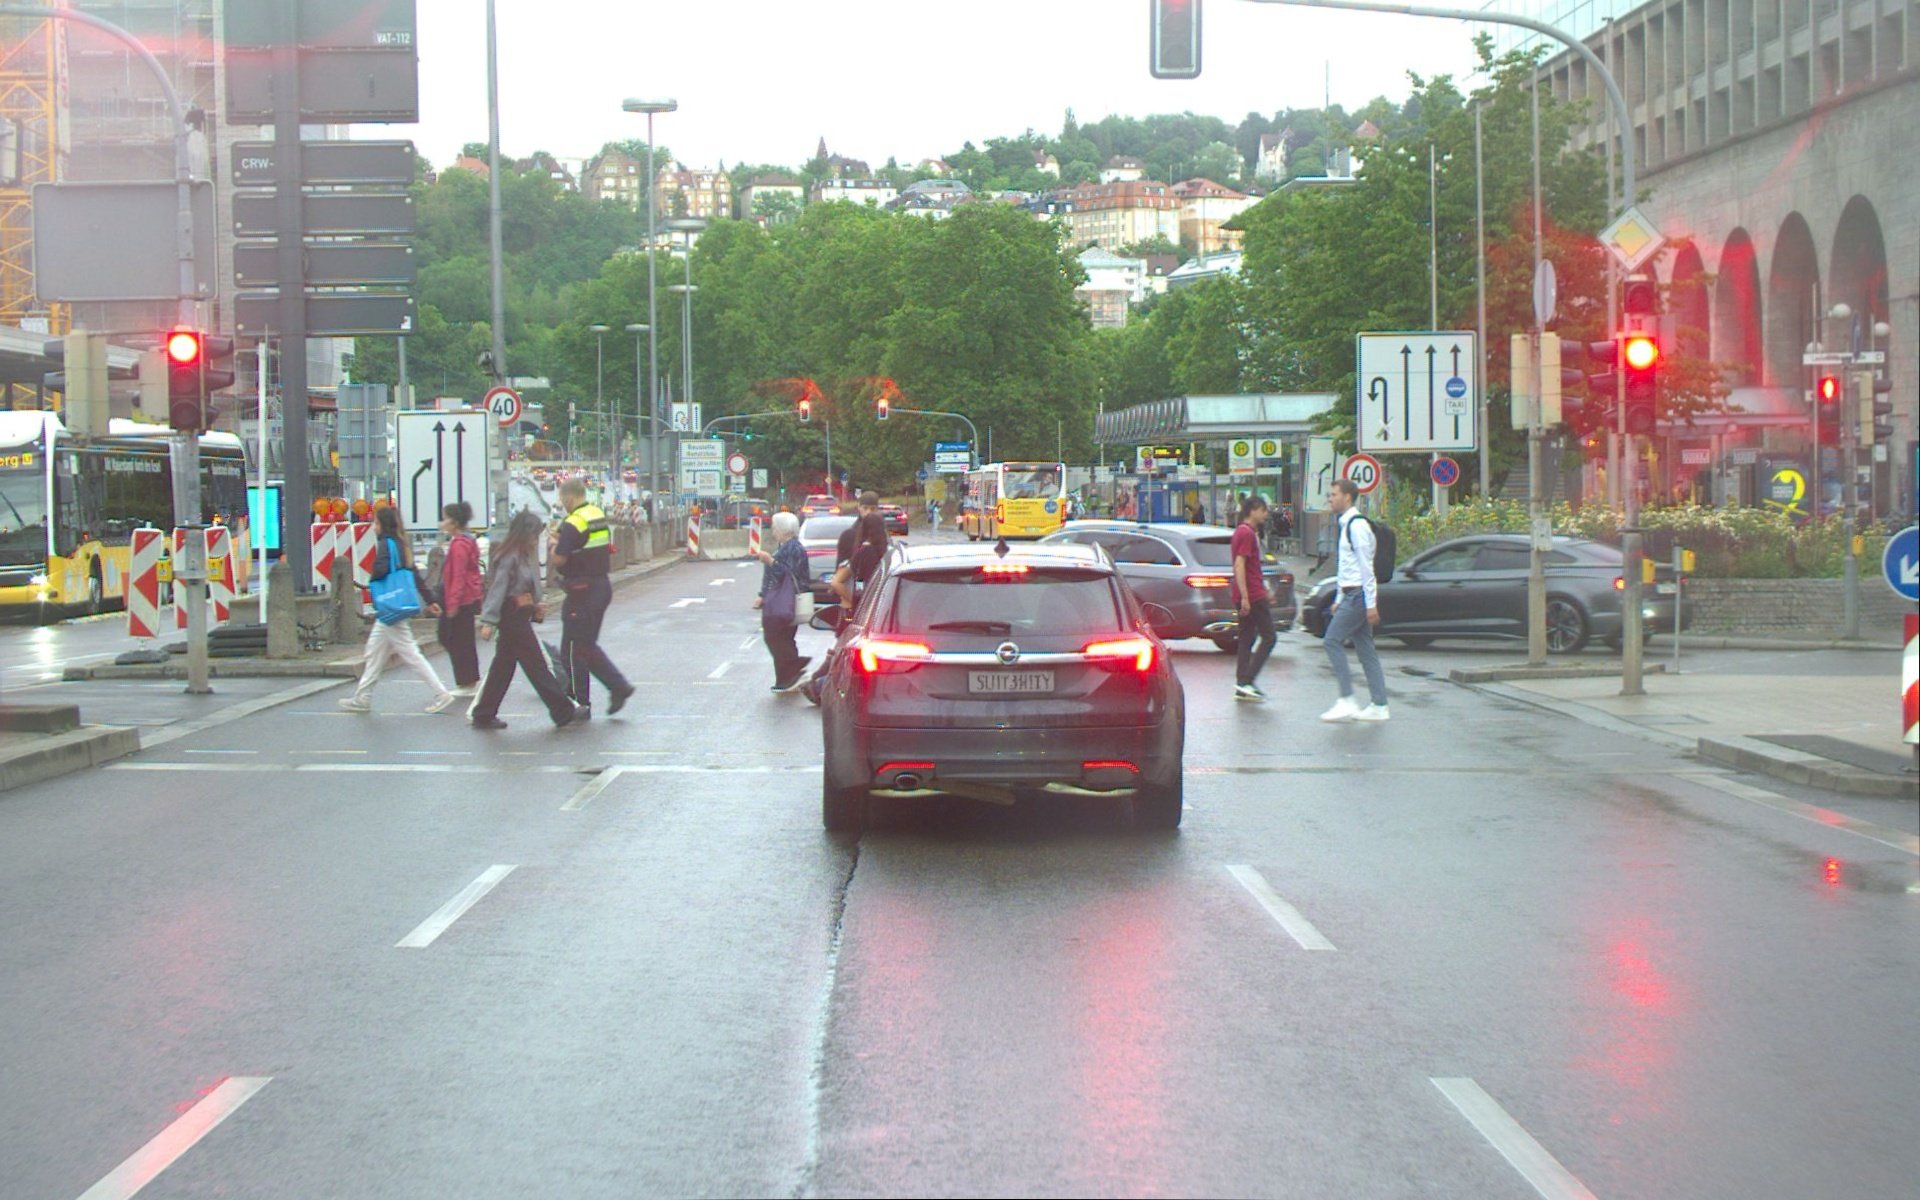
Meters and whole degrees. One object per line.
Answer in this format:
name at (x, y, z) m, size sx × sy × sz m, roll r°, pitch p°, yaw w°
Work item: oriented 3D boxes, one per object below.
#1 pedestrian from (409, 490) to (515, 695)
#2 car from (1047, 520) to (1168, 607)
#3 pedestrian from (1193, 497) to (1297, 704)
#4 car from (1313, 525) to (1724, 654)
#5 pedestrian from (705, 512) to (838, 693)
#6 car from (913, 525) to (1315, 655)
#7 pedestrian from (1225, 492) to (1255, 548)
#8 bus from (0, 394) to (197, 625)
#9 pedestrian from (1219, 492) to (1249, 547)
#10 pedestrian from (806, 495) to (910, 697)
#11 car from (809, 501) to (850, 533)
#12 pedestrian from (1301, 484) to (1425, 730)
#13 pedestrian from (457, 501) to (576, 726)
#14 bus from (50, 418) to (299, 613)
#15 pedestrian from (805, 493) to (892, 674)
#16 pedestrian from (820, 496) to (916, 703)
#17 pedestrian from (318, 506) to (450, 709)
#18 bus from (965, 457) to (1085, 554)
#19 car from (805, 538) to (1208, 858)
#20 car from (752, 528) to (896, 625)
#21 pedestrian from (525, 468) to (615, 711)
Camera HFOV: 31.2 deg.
pedestrian at (-4.258, -0.070, 29.447) m, size 0.799 × 1.711 × 0.620 m, roll -2°, pitch 1°, yaw -4°
car at (2.461, -0.621, 58.002) m, size 1.845 × 1.393 × 3.564 m, roll 1°, pitch 1°, yaw 0°
pedestrian at (2.443, 0.000, 29.452) m, size 0.570 × 1.746 × 0.679 m, roll 1°, pitch 1°, yaw 43°
car at (6.492, -0.150, 40.146) m, size 4.396 × 1.393 × 1.755 m, roll 1°, pitch 1°, yaw 34°
pedestrian at (-1.652, 0.013, 30.200) m, size 0.786 × 1.555 × 0.874 m, roll 1°, pitch 1°, yaw 32°
car at (1.726, -0.143, 39.693) m, size 4.534 × 1.393 × 1.754 m, roll 2°, pitch 1°, yaw 42°
pedestrian at (8.550, -2.445, 104.899) m, size 0.763 × 1.684 × 0.825 m, roll 1°, pitch 1°, yaw -4°
bus at (-15.552, -1.503, 58.962) m, size 2.668 × 3.589 × 10.240 m, roll 1°, pitch 1°, yaw 0°
pedestrian at (8.421, -2.479, 105.797) m, size 0.763 × 1.684 × 0.825 m, roll 1°, pitch 1°, yaw -4°
pedestrian at (-0.828, -0.036, 27.807) m, size 0.799 × 1.603 × 0.620 m, roll 1°, pitch 1°, yaw -4°
car at (-6.015, -3.817, 158.522) m, size 1.759 × 1.393 × 3.564 m, roll 1°, pitch 1°, yaw 0°
pedestrian at (3.129, 0.051, 26.736) m, size 0.798 × 1.884 × 0.620 m, roll 1°, pitch 1°, yaw -9°
pedestrian at (-3.262, 0.093, 25.338) m, size 0.793 × 1.620 × 0.900 m, roll 1°, pitch 1°, yaw -4°
bus at (-15.622, -1.648, 69.148) m, size 2.668 × 3.589 × 10.212 m, roll 1°, pitch 1°, yaw 0°
pedestrian at (-0.922, -0.137, 28.314) m, size 0.678 × 1.469 × 0.366 m, roll 1°, pitch 1°, yaw -5°
pedestrian at (-0.771, -0.007, 28.753) m, size 0.755 × 1.711 × 0.466 m, roll 1°, pitch 1°, yaw -4°
pedestrian at (-4.512, 0.050, 27.000) m, size 0.915 × 1.558 × 0.900 m, roll 1°, pitch 1°, yaw -4°
bus at (2.363, -3.509, 131.385) m, size 4.173 × 3.457 × 14.655 m, roll 1°, pitch 1°, yaw 0°
car at (0.193, 0.432, 18.172) m, size 1.874 × 1.481 × 4.000 m, roll 1°, pitch 1°, yaw -1°
car at (-2.110, -0.380, 52.264) m, size 1.752 × 1.393 × 4.539 m, roll 1°, pitch 1°, yaw -8°
pedestrian at (-2.987, -0.083, 26.390) m, size 0.578 × 1.829 × 0.820 m, roll 1°, pitch 1°, yaw 0°
